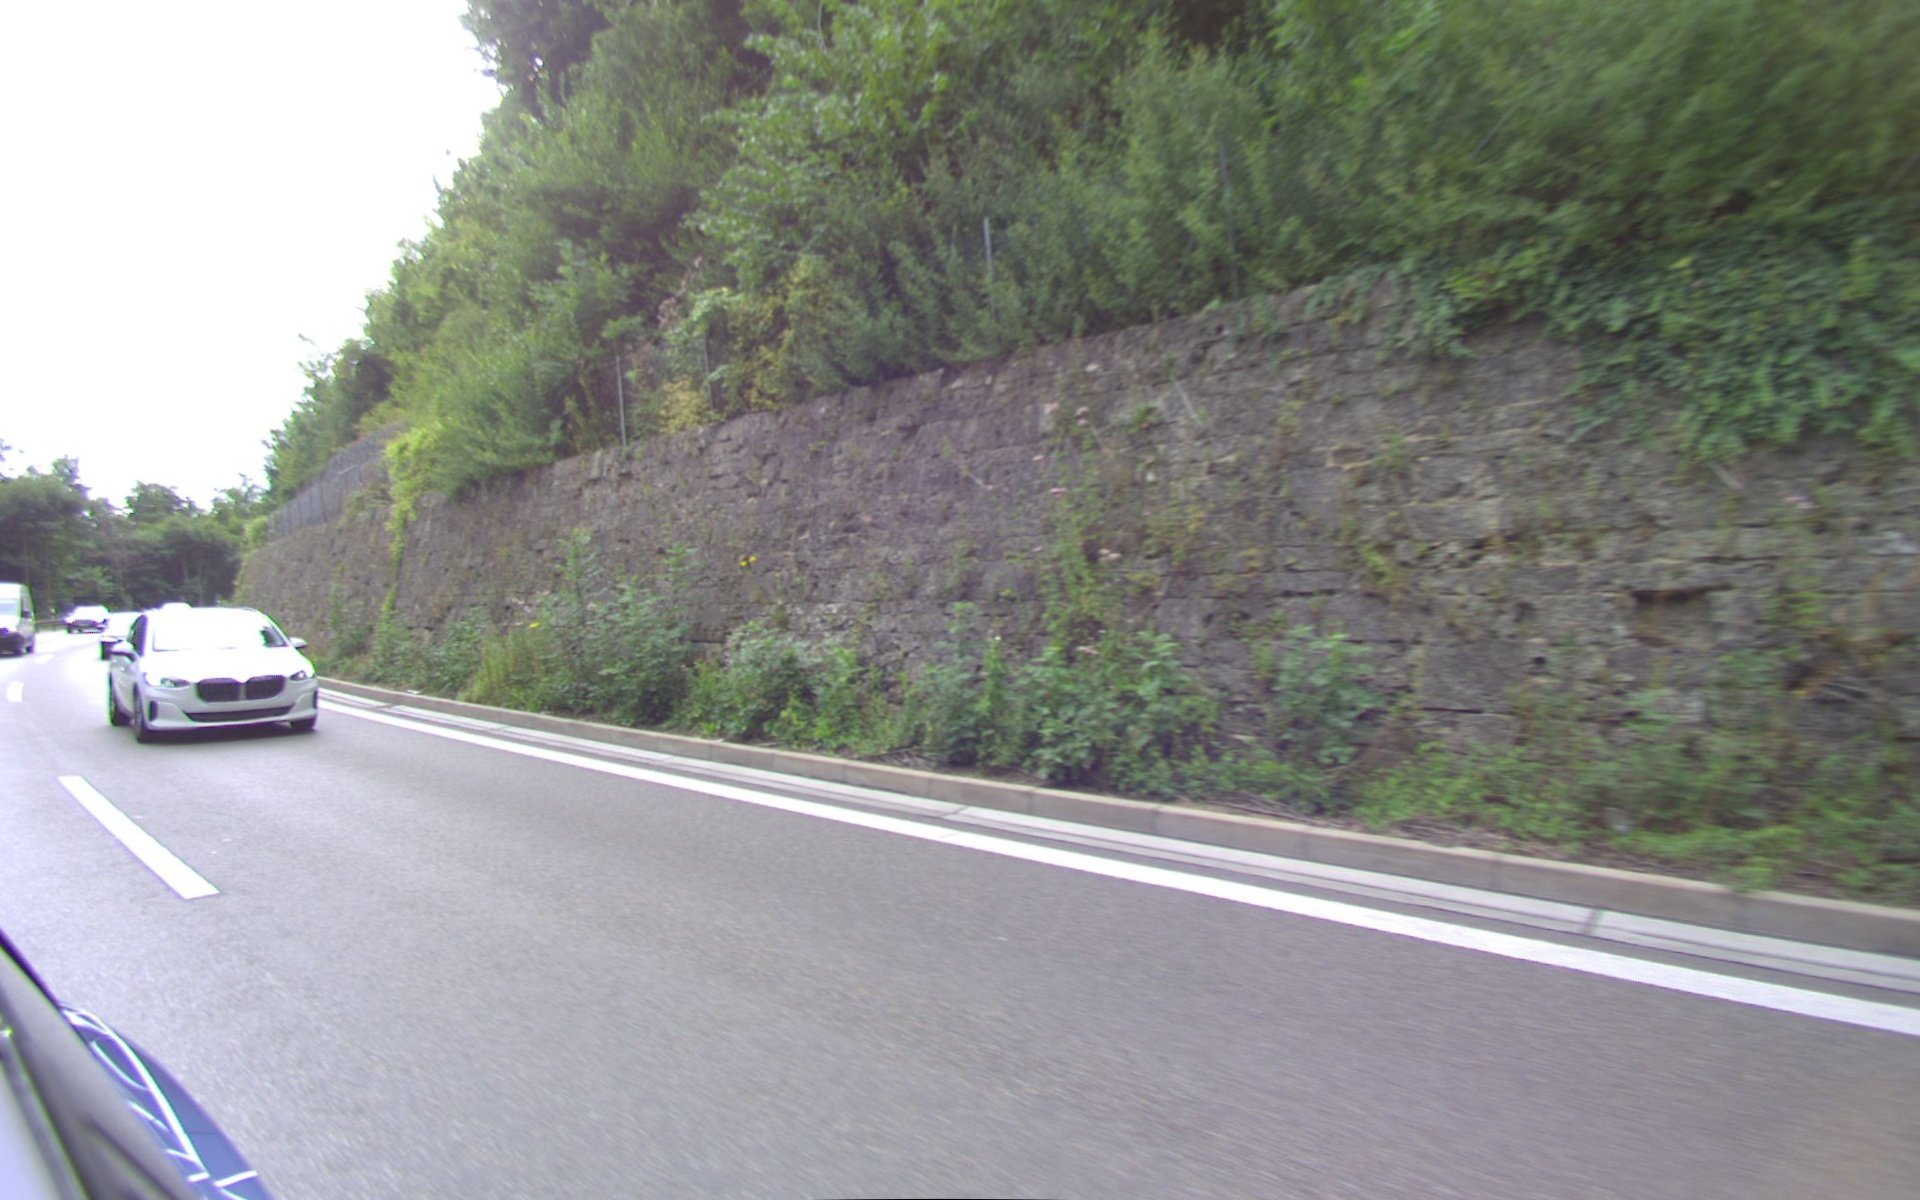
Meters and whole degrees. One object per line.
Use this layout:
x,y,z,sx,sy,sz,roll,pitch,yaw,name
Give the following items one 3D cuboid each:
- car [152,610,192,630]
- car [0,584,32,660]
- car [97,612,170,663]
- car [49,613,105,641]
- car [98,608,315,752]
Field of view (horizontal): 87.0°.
-63.211,1.600,81.237,1.793,1.567,4.013,-1,0,-27,car
-34.646,0.776,35.912,2.067,2.582,5.931,0,0,-38,car
-27.543,1.199,33.794,1.795,1.567,4.008,0,0,-38,car
-52.011,1.537,59.690,1.793,1.567,4.012,0,0,-31,car
-9.914,0.905,13.197,1.797,1.567,4.003,0,0,-44,car
